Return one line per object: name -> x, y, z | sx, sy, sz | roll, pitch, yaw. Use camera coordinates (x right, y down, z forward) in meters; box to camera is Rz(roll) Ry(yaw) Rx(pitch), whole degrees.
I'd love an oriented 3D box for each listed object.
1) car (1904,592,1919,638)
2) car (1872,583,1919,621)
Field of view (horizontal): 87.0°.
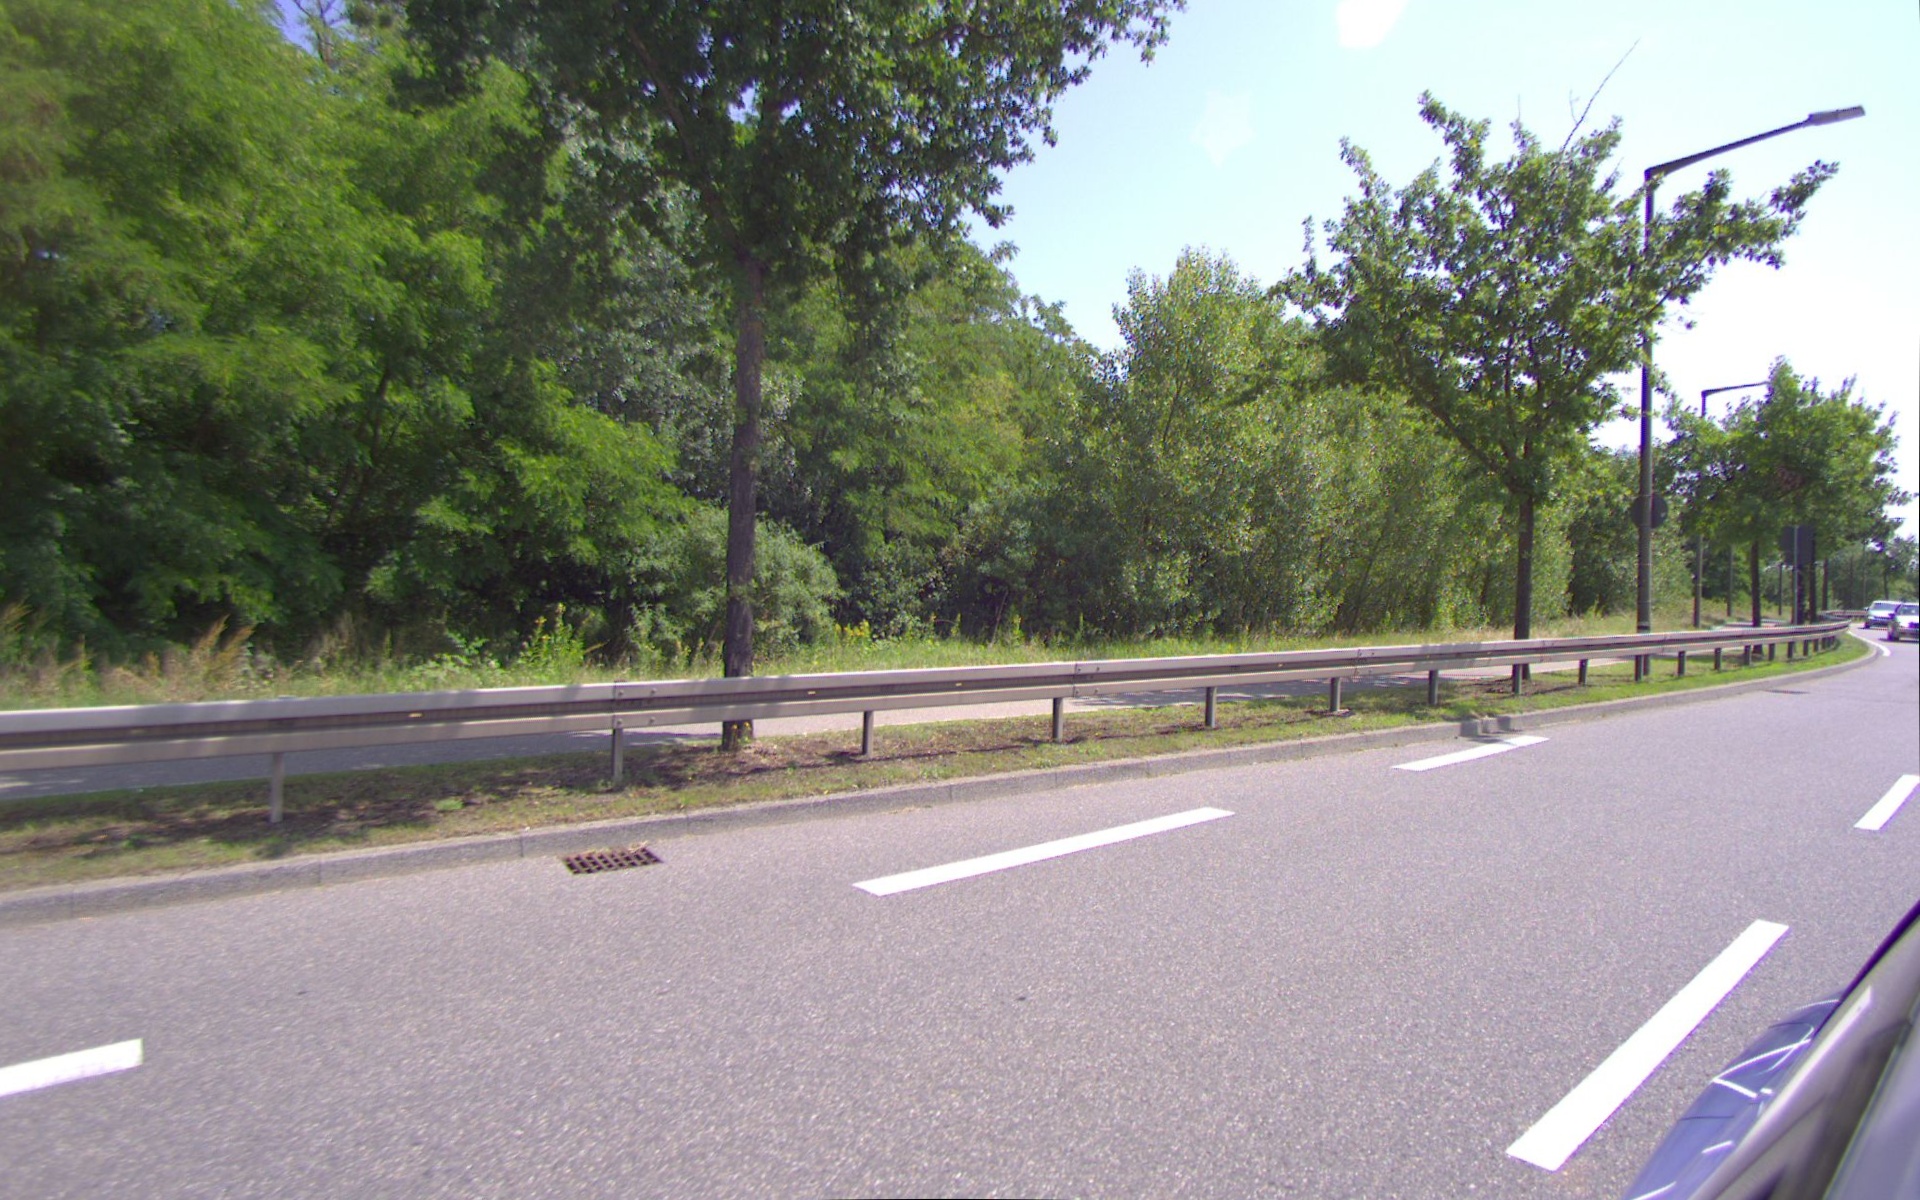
car -> 34.829, 0.491, 35.949 | 1.759, 1.518, 4.166 | -1, 0, 44
car -> 47.590, 0.082, 51.351 | 1.794, 1.805, 4.226 | 3, 2, 43
